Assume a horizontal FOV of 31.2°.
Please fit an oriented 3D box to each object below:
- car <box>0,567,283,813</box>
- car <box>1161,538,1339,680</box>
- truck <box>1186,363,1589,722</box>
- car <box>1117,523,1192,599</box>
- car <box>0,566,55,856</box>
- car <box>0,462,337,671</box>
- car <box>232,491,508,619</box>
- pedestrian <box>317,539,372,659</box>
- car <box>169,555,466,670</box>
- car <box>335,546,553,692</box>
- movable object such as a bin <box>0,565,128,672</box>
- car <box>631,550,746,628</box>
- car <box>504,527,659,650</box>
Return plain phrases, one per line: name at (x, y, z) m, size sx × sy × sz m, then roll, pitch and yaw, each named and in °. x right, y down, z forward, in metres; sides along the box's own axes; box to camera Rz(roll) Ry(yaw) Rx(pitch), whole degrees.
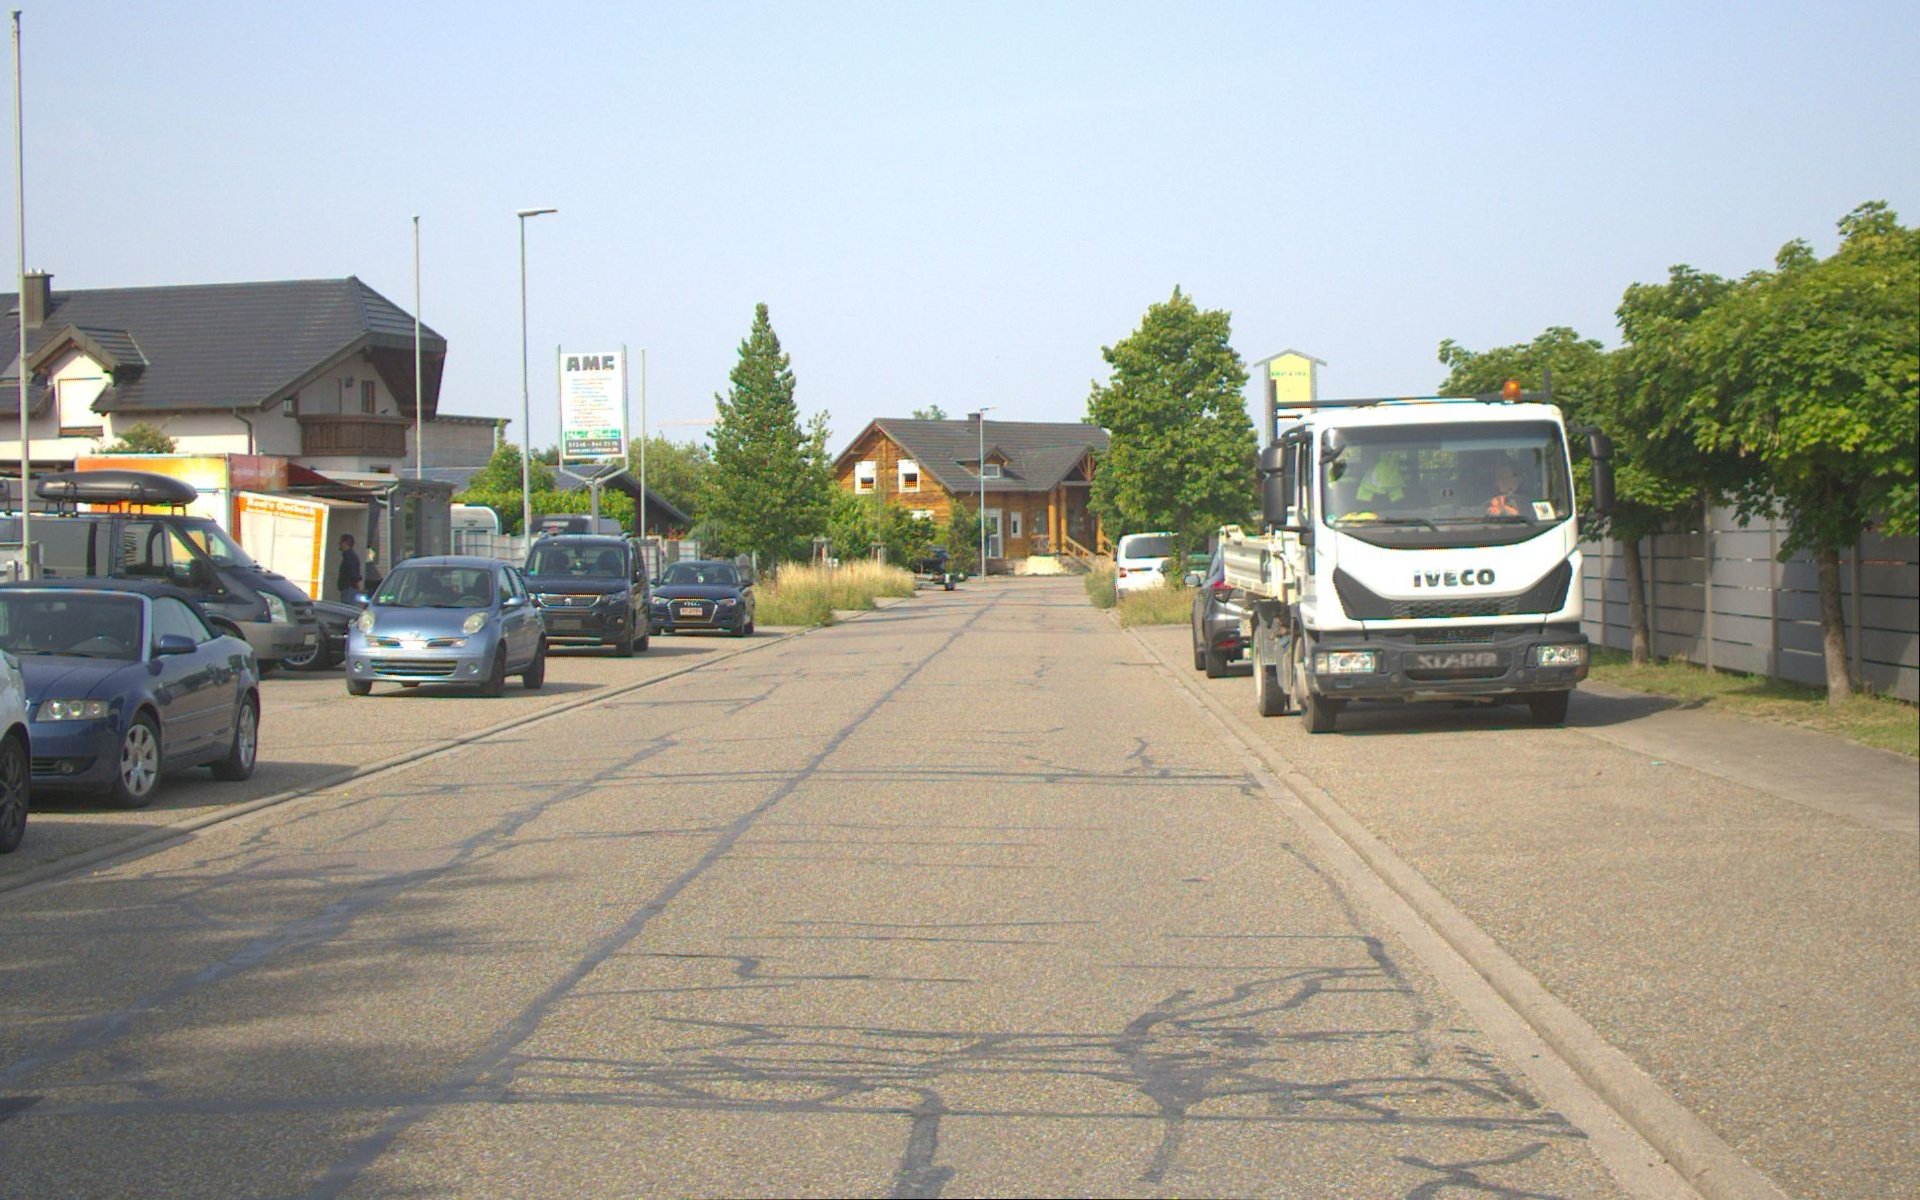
car at (-5.700, 0.503, 22.343) m, size 1.633 × 1.382 × 4.369 m, roll 1°, pitch 1°, yaw 1°
car at (3.425, 0.111, 41.215) m, size 1.794 × 1.555 × 4.000 m, roll -2°, pitch 0°, yaw 1°
truck at (3.451, -0.483, 29.268) m, size 2.359 × 2.672 × 6.511 m, roll -1°, pitch 1°, yaw -2°
car at (5.153, -1.048, 91.298) m, size 1.838 × 1.917 × 3.756 m, roll -1°, pitch 1°, yaw 2°
car at (-5.760, 0.580, 16.334) m, size 1.683 × 1.464 × 4.254 m, roll 1°, pitch 1°, yaw 2°
car at (-10.106, -0.401, 41.671) m, size 4.627 × 2.408 × 2.000 m, roll -1°, pitch 1°, yaw 4°
car at (-12.603, -0.967, 73.469) m, size 5.163 × 2.577 × 2.574 m, roll -1°, pitch 1°, yaw 22°
pedestrian at (-8.865, -0.016, 49.503) m, size 0.562 × 1.709 × 0.534 m, roll -2°, pitch 1°, yaw -36°
car at (-8.438, 0.150, 45.367) m, size 3.587 × 1.409 × 1.762 m, roll -1°, pitch 1°, yaw -2°
car at (-5.678, 0.170, 38.193) m, size 1.633 × 1.512 × 3.605 m, roll 1°, pitch 1°, yaw 4°
movable object such as a bin at (-11.480, 0.185, 39.451) m, size 3.324 × 1.143 × 1.761 m, roll 1°, pitch 1°, yaw 11°
car at (-5.109, -0.221, 65.044) m, size 1.800 × 1.382 × 3.638 m, roll 1°, pitch 1°, yaw 1°
car at (-5.731, -0.206, 52.478) m, size 1.800 × 1.768 × 4.203 m, roll 1°, pitch 1°, yaw 1°
